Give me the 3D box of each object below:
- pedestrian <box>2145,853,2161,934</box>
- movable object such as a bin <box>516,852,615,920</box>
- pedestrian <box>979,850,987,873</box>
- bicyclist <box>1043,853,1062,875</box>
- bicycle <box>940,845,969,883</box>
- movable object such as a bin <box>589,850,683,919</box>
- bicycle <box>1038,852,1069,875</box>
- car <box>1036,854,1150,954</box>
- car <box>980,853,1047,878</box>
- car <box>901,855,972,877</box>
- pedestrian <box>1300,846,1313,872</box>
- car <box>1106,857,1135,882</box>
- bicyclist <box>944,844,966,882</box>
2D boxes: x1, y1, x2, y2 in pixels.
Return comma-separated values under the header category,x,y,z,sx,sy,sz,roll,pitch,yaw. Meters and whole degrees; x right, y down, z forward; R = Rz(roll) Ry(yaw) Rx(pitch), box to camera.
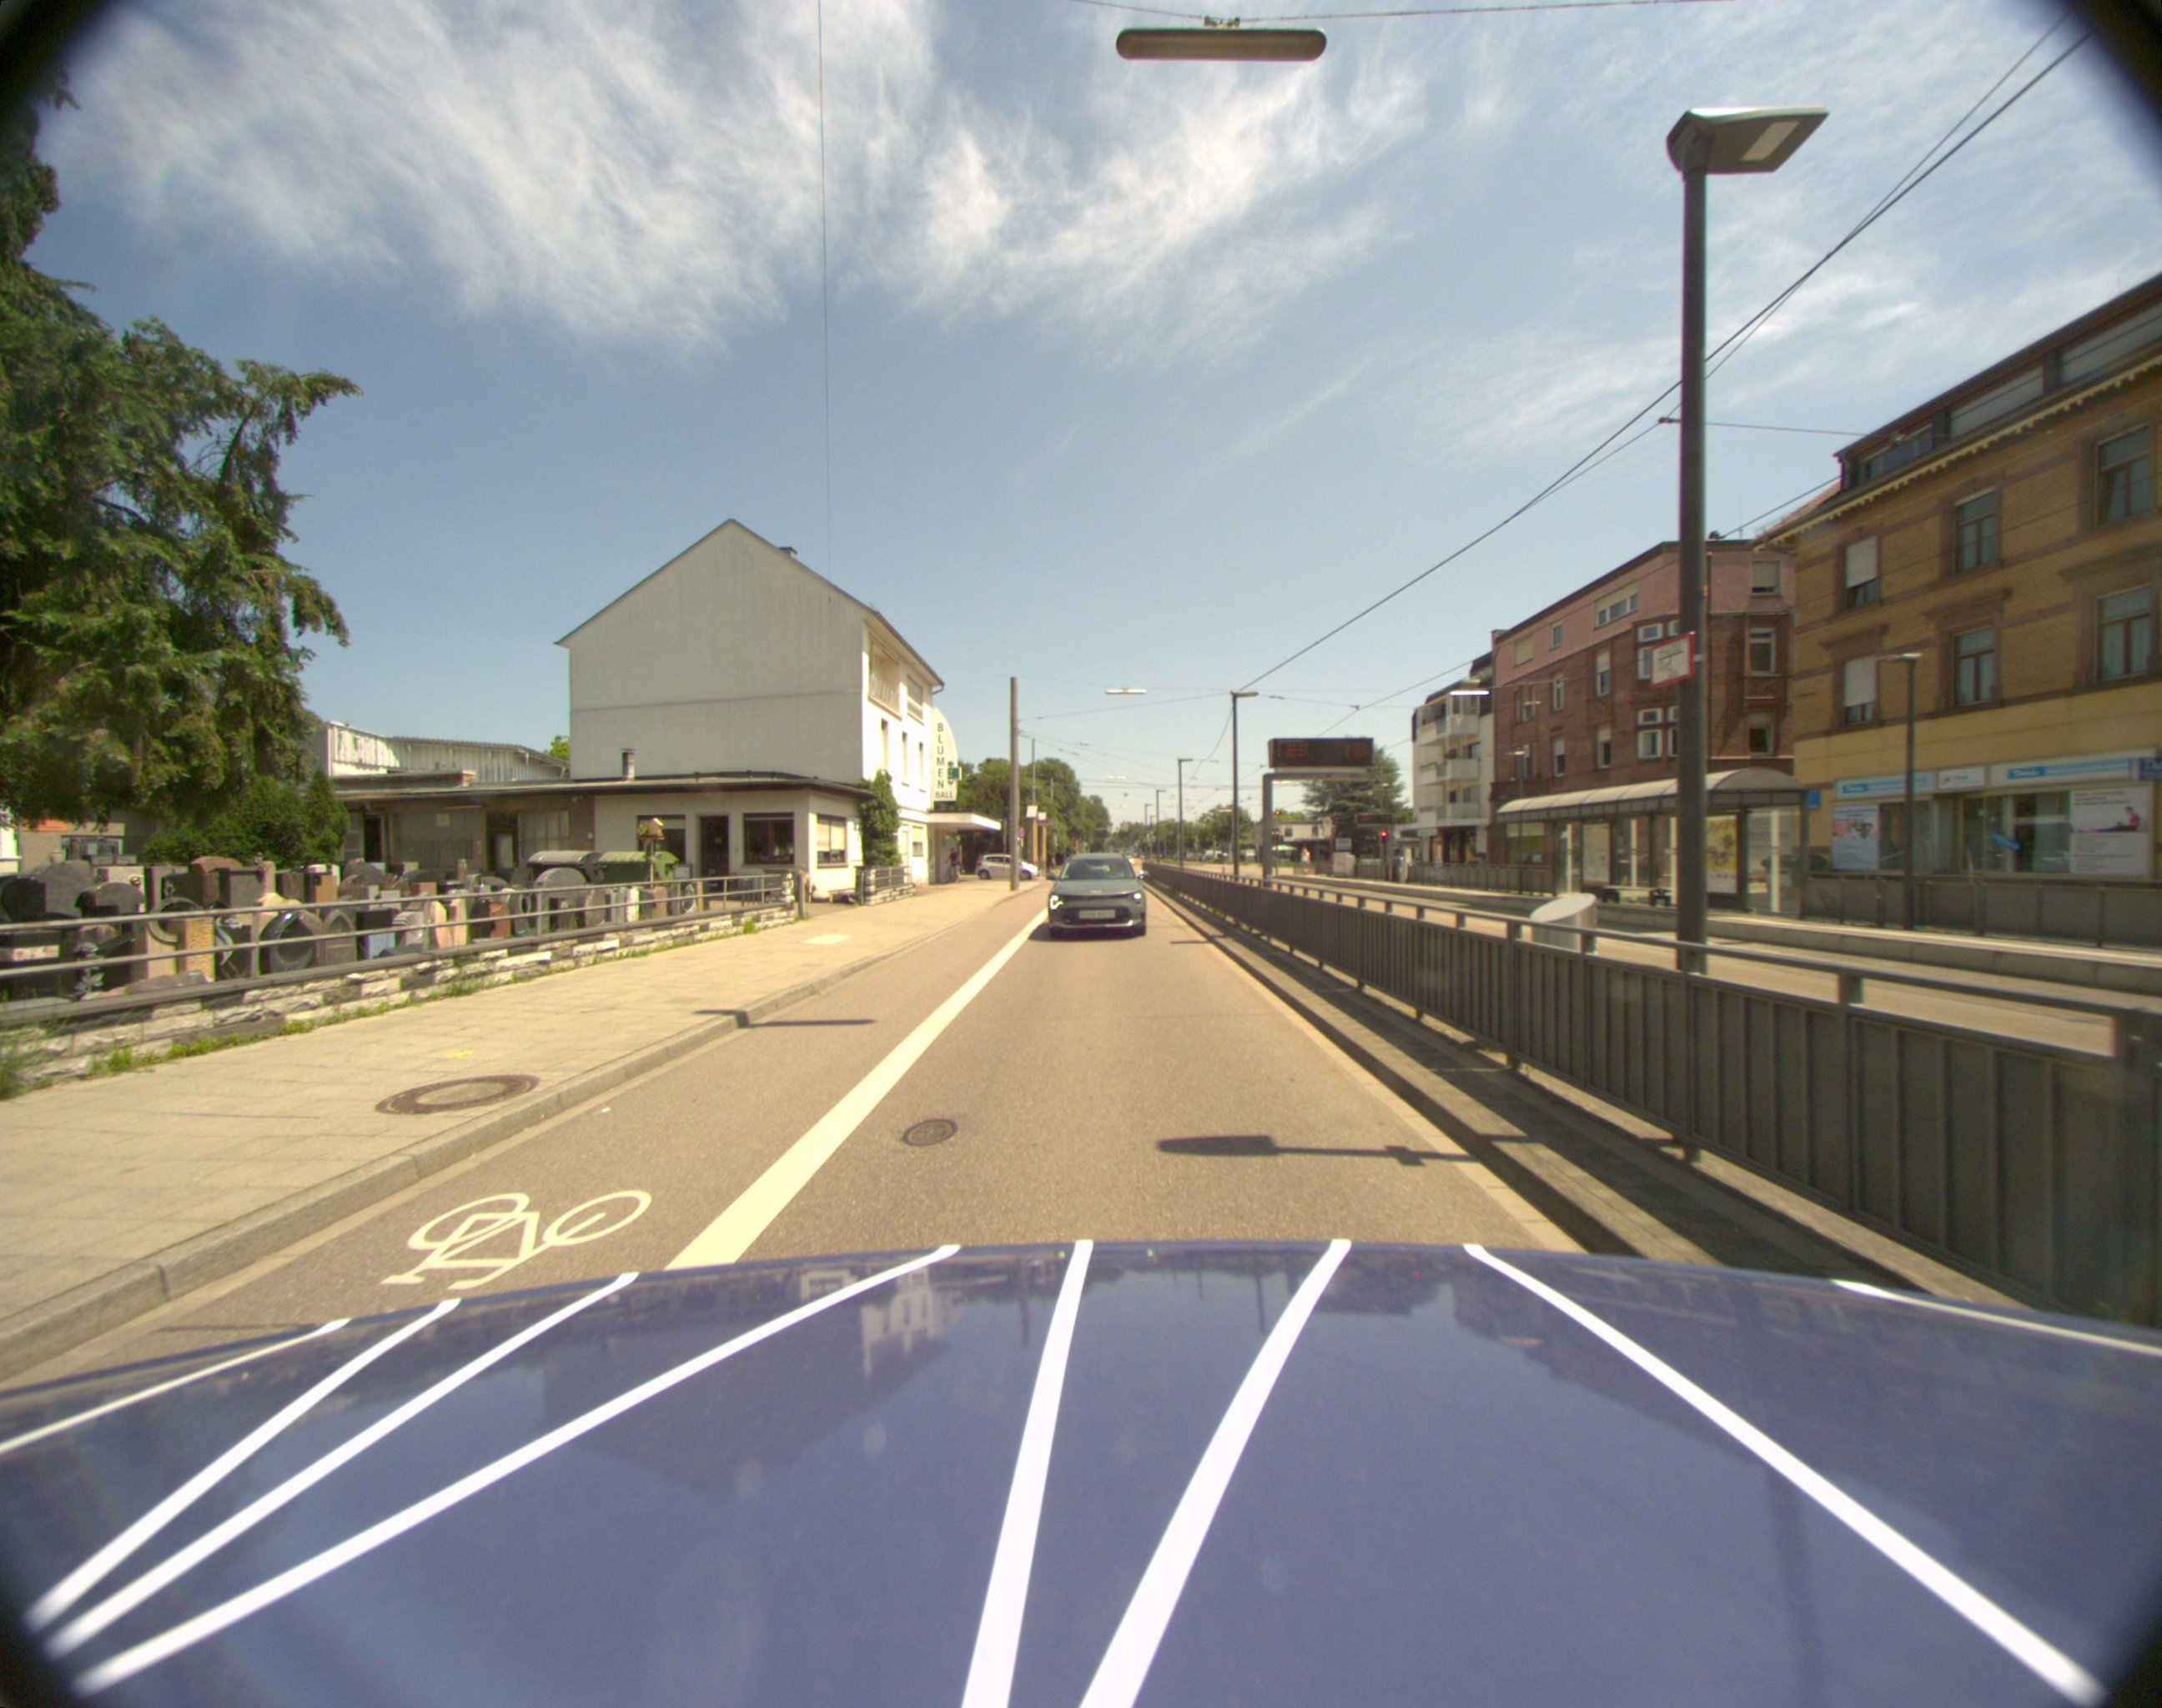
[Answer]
category,x,y,z,sx,sy,sz,roll,pitch,yaw
pedestrian,21.515,0.784,14.782,0.604,1.586,0.715,-1,1,0
movable object such as a bin,-11.593,0.694,17.134,1.390,1.473,1.152,-1,1,6
pedestrian,-7.019,0.529,54.422,0.536,1.589,0.425,-2,1,-11
bicyclist,-2.133,0.718,57.015,0.987,1.569,0.866,3,1,-30
bicycle,-6.409,0.492,38.615,0.799,1.889,1.960,2,0,9
movable object such as a bin,-9.964,0.659,17.084,1.390,1.473,1.151,-1,1,3
bicycle,-2.090,0.746,57.032,2.054,1.580,0.889,3,1,-30
car,0.294,0.817,14.574,1.827,1.547,4.487,-1,1,3
car,-4.261,0.724,48.070,3.996,1.509,1.698,0,1,4
car,-9.737,0.804,51.321,4.461,1.449,1.595,0,-1,2
pedestrian,14.219,0.309,47.907,0.597,1.615,0.676,1,1,2
car,2.791,1.077,54.275,1.749,1.546,4.487,-3,0,0
bicyclist,-6.407,0.450,38.599,0.790,1.863,0.888,2,1,9
